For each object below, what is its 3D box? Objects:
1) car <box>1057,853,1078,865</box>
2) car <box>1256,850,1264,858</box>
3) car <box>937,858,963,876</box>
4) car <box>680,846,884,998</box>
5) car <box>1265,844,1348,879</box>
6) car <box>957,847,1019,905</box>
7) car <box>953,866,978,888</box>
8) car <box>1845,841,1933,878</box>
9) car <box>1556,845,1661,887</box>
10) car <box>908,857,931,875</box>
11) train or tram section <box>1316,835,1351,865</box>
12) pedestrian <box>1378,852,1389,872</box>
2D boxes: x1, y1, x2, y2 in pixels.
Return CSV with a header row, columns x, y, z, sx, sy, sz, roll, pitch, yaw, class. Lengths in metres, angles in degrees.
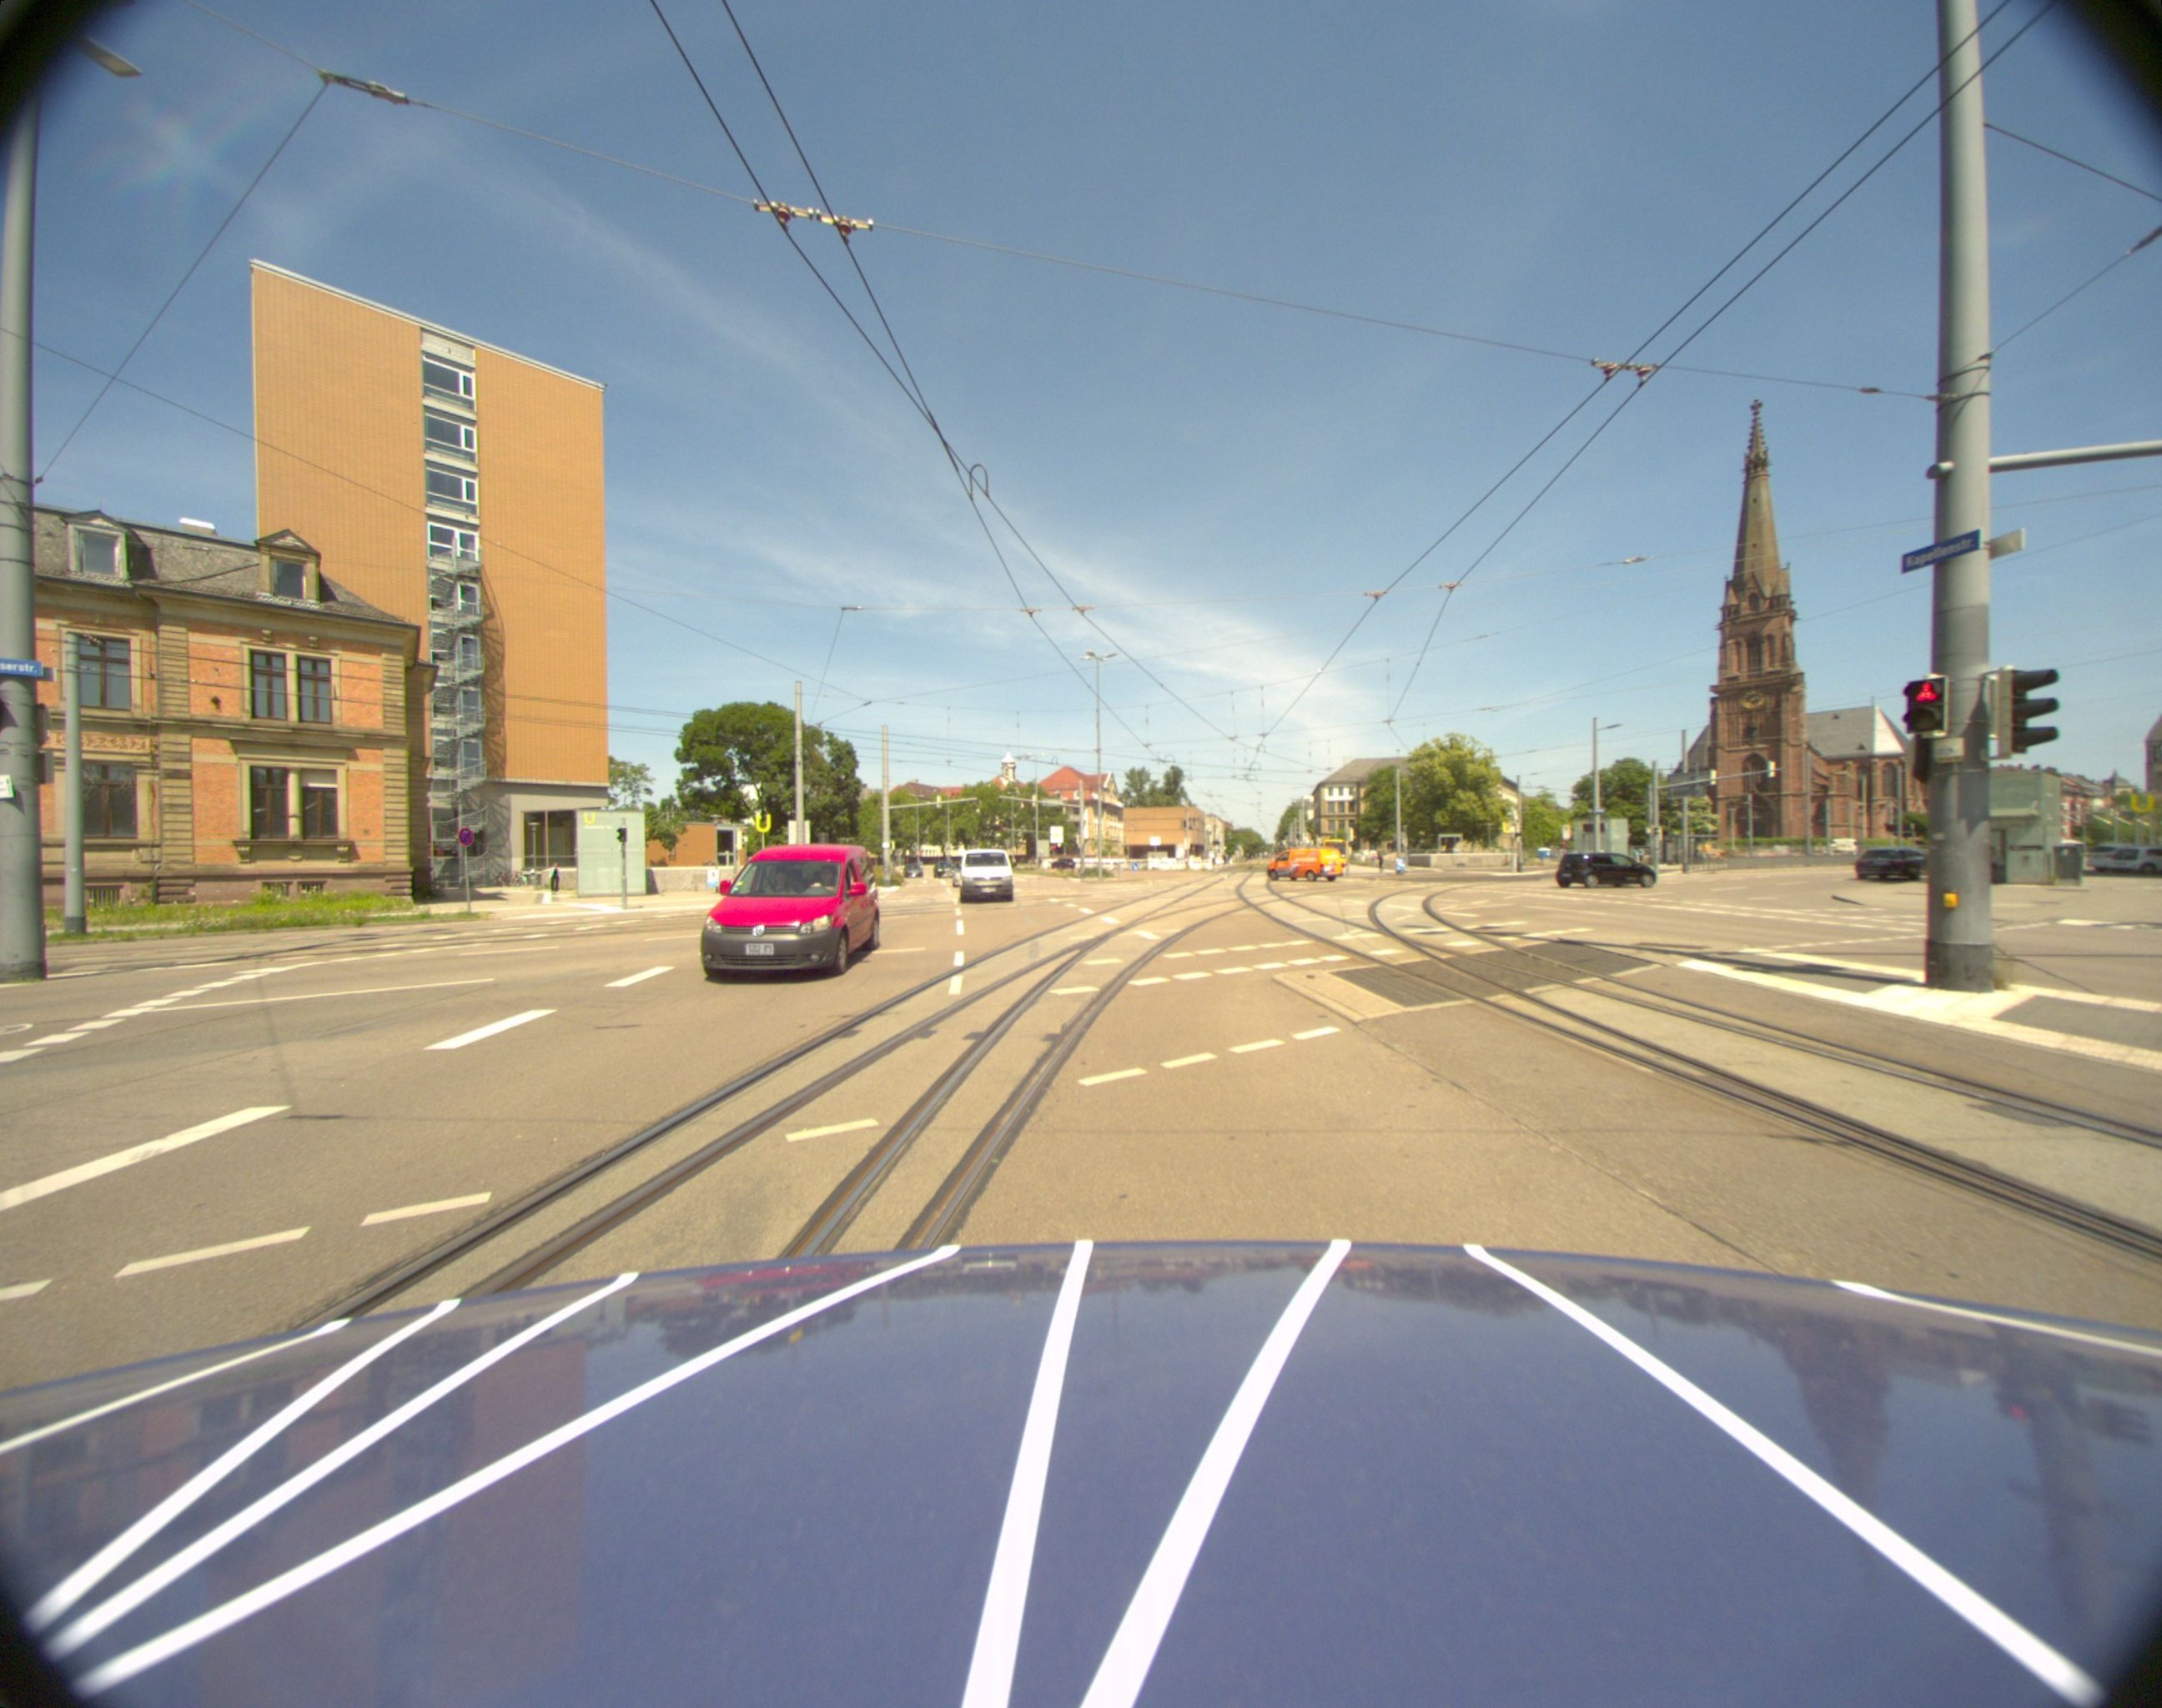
x,y,z,sx,sy,sz,roll,pitch,yaw,class
-1.784,0.679,99.941,1.540,1.450,2.981,-1,0,-26,car
37.797,-0.031,160.315,1.439,1.586,4.004,-1,0,12,car
-12.797,1.233,74.004,2.001,1.714,3.994,-1,0,-16,car
-4.160,0.818,11.311,1.756,1.802,4.095,-1,0,-6,car
13.514,0.433,45.807,2.003,2.002,4.585,-1,0,-31,car
-3.564,0.763,28.510,1.876,1.954,3.819,-1,0,-13,car
-7.699,1.496,50.602,1.572,1.346,3.456,-1,0,-9,car
36.543,0.221,34.357,4.006,1.521,1.775,-1,0,-28,car
21.259,0.463,30.685,3.385,1.565,1.334,-2,1,-5,car
-17.126,1.245,80.522,2.001,1.830,3.994,-1,0,-16,car
28.891,-0.417,87.229,2.839,3.195,9.118,-1,0,12,train or tram section
24.592,0.636,61.792,0.657,1.661,0.449,-1,1,-13,pedestrian
